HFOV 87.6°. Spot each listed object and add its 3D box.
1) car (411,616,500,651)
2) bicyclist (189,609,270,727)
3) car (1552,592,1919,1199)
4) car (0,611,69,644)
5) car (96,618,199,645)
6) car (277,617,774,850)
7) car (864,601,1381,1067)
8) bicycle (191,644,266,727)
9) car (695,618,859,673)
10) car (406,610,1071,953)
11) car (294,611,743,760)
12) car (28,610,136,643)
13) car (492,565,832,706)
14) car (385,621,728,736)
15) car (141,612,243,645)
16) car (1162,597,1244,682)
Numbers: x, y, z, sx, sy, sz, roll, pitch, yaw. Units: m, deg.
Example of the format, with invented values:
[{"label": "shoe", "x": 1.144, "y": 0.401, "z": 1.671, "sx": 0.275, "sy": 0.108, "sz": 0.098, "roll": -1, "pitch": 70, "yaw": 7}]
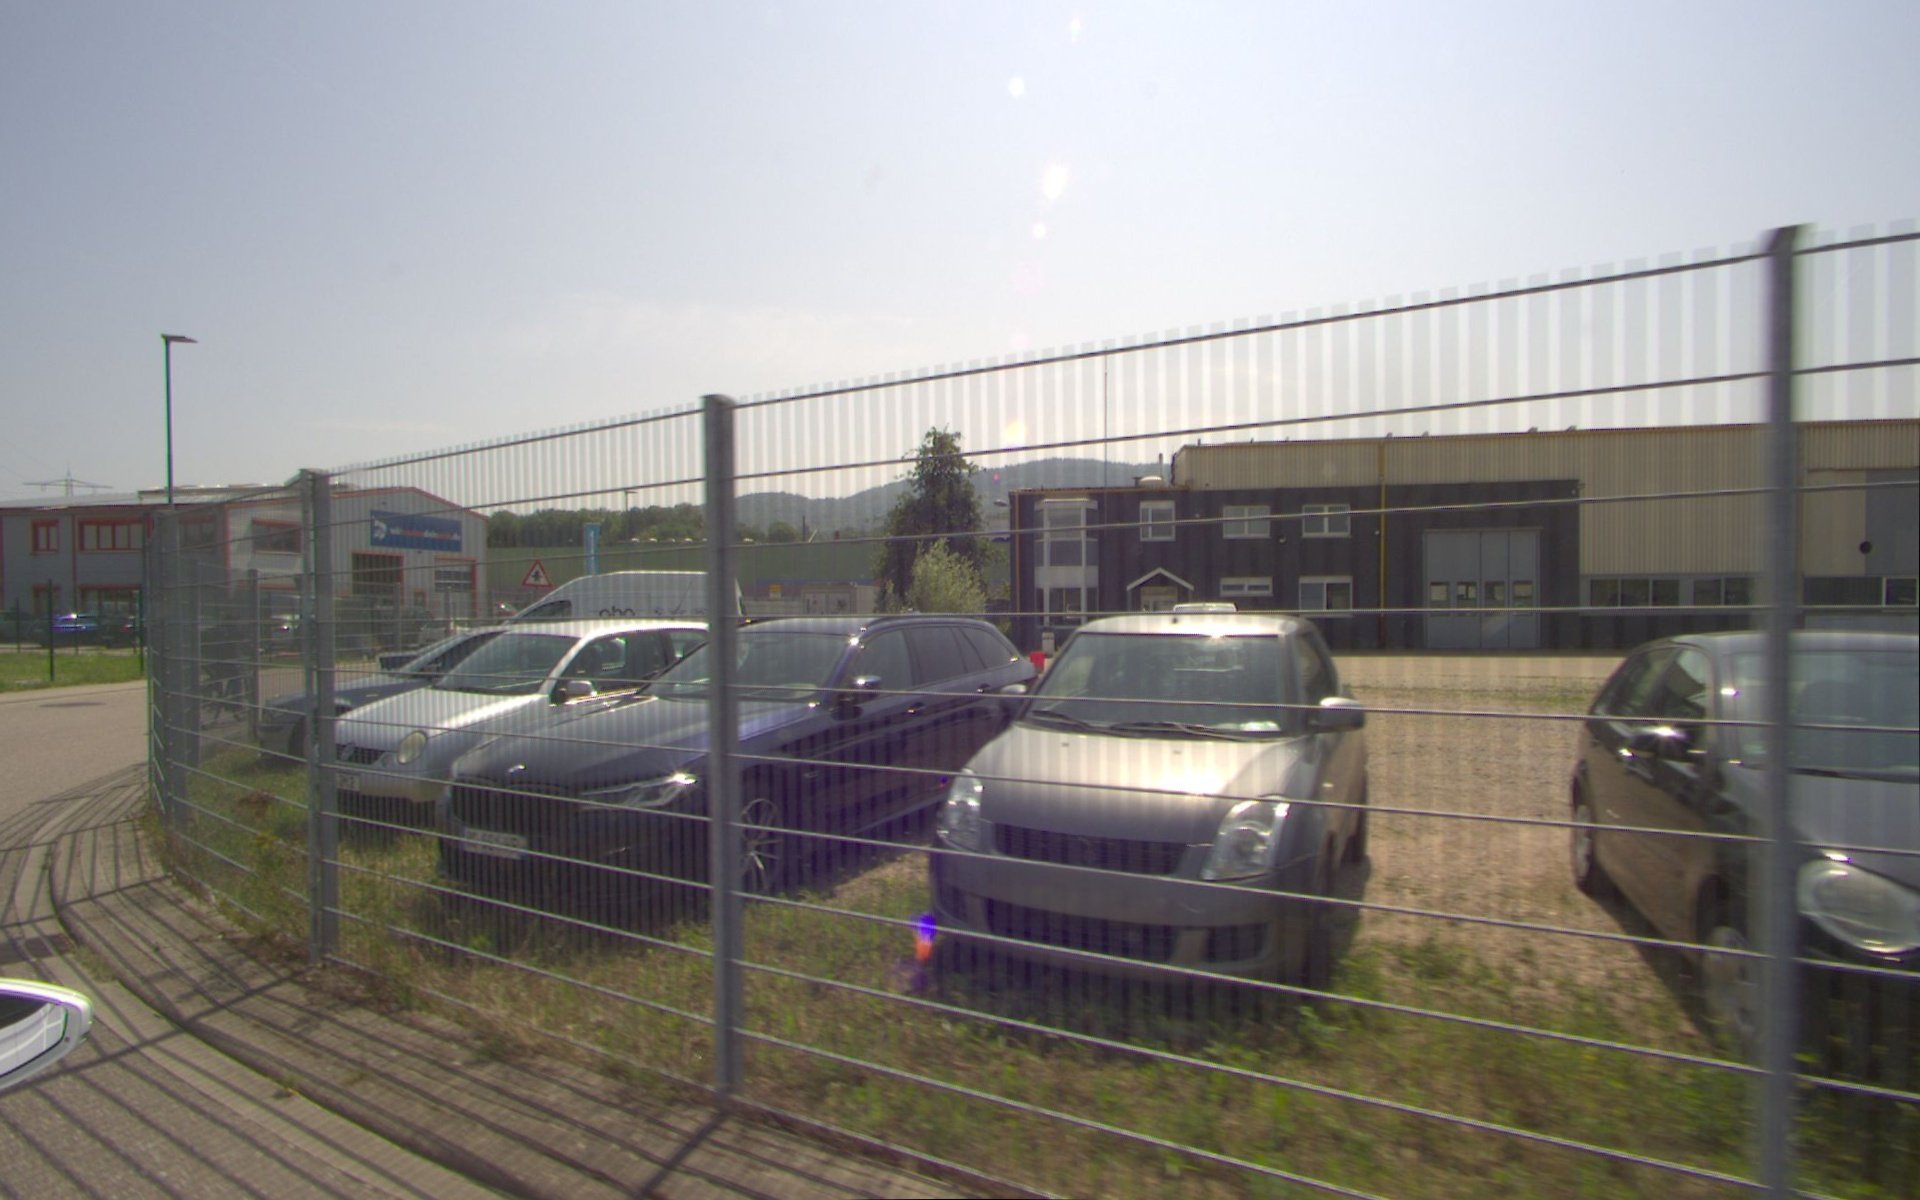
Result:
[{"label": "car", "x": -22.284, "y": 1.449, "z": 44.353, "sx": 1.718, "sy": 1.423, "sz": 3.602, "roll": 0, "pitch": 0, "yaw": 10}, {"label": "bicyclist", "x": -10.561, "y": 0.957, "z": 14.511, "sx": 0.833, "sy": 1.639, "sz": 1.033, "roll": 1, "pitch": -1, "yaw": -31}, {"label": "car", "x": 3.600, "y": 0.736, "z": 3.838, "sx": 1.723, "sy": 1.496, "sz": 3.652, "roll": -2, "pitch": -2, "yaw": 22}, {"label": "car", "x": -45.608, "y": 1.302, "z": 48.426, "sx": 1.479, "sy": 1.564, "sz": 3.602, "roll": 0, "pitch": 0, "yaw": 10}, {"label": "car", "x": -37.404, "y": 1.431, "z": 46.176, "sx": 1.479, "sy": 1.167, "sz": 3.602, "roll": 0, "pitch": 0, "yaw": 10}, {"label": "car", "x": -3.292, "y": 0.872, "z": 8.196, "sx": 1.612, "sy": 1.441, "sz": 3.459, "roll": 0, "pitch": 0, "yaw": 31}, {"label": "car", "x": 1.156, "y": 0.787, "z": 5.234, "sx": 1.684, "sy": 1.521, "sz": 3.537, "roll": 0, "pitch": 0, "yaw": 27}, {"label": "bicycle", "x": -10.623, "y": 1.205, "z": 14.588, "sx": 0.677, "sy": 1.065, "sz": 1.890, "roll": 1, "pitch": -1, "yaw": -30}, {"label": "car", "x": -4.538, "y": 1.096, "z": 24.912, "sx": 3.856, "sy": 1.294, "sz": 1.905, "roll": 0, "pitch": 0, "yaw": -11}, {"label": "car", "x": -1.003, "y": 0.815, "z": 6.768, "sx": 1.798, "sy": 1.493, "sz": 4.530, "roll": 0, "pitch": -1, "yaw": 31}, {"label": "car", "x": -4.748, "y": 0.833, "z": 11.194, "sx": 4.290, "sy": 1.413, "sz": 1.610, "roll": 0, "pitch": 0, "yaw": -26}, {"label": "car", "x": -40.288, "y": 1.197, "z": 46.056, "sx": 1.479, "sy": 1.435, "sz": 3.602, "roll": 0, "pitch": 0, "yaw": 10}, {"label": "car", "x": -4.868, "y": 0.562, "z": 16.987, "sx": 5.243, "sy": 2.177, "sz": 1.905, "roll": 0, "pitch": 0, "yaw": -11}, {"label": "car", "x": -5.360, "y": 0.999, "z": 13.758, "sx": 4.134, "sy": 1.375, "sz": 1.613, "roll": 0, "pitch": 0, "yaw": -18}, {"label": "car", "x": -34.457, "y": 1.272, "z": 45.032, "sx": 1.479, "sy": 1.399, "sz": 3.602, "roll": 0, "pitch": 0, "yaw": 10}, {"label": "car", "x": 6.229, "y": 0.936, "z": 25.462, "sx": 1.823, "sy": 1.924, "sz": 5.071, "roll": 0, "pitch": -1, "yaw": 15}]
